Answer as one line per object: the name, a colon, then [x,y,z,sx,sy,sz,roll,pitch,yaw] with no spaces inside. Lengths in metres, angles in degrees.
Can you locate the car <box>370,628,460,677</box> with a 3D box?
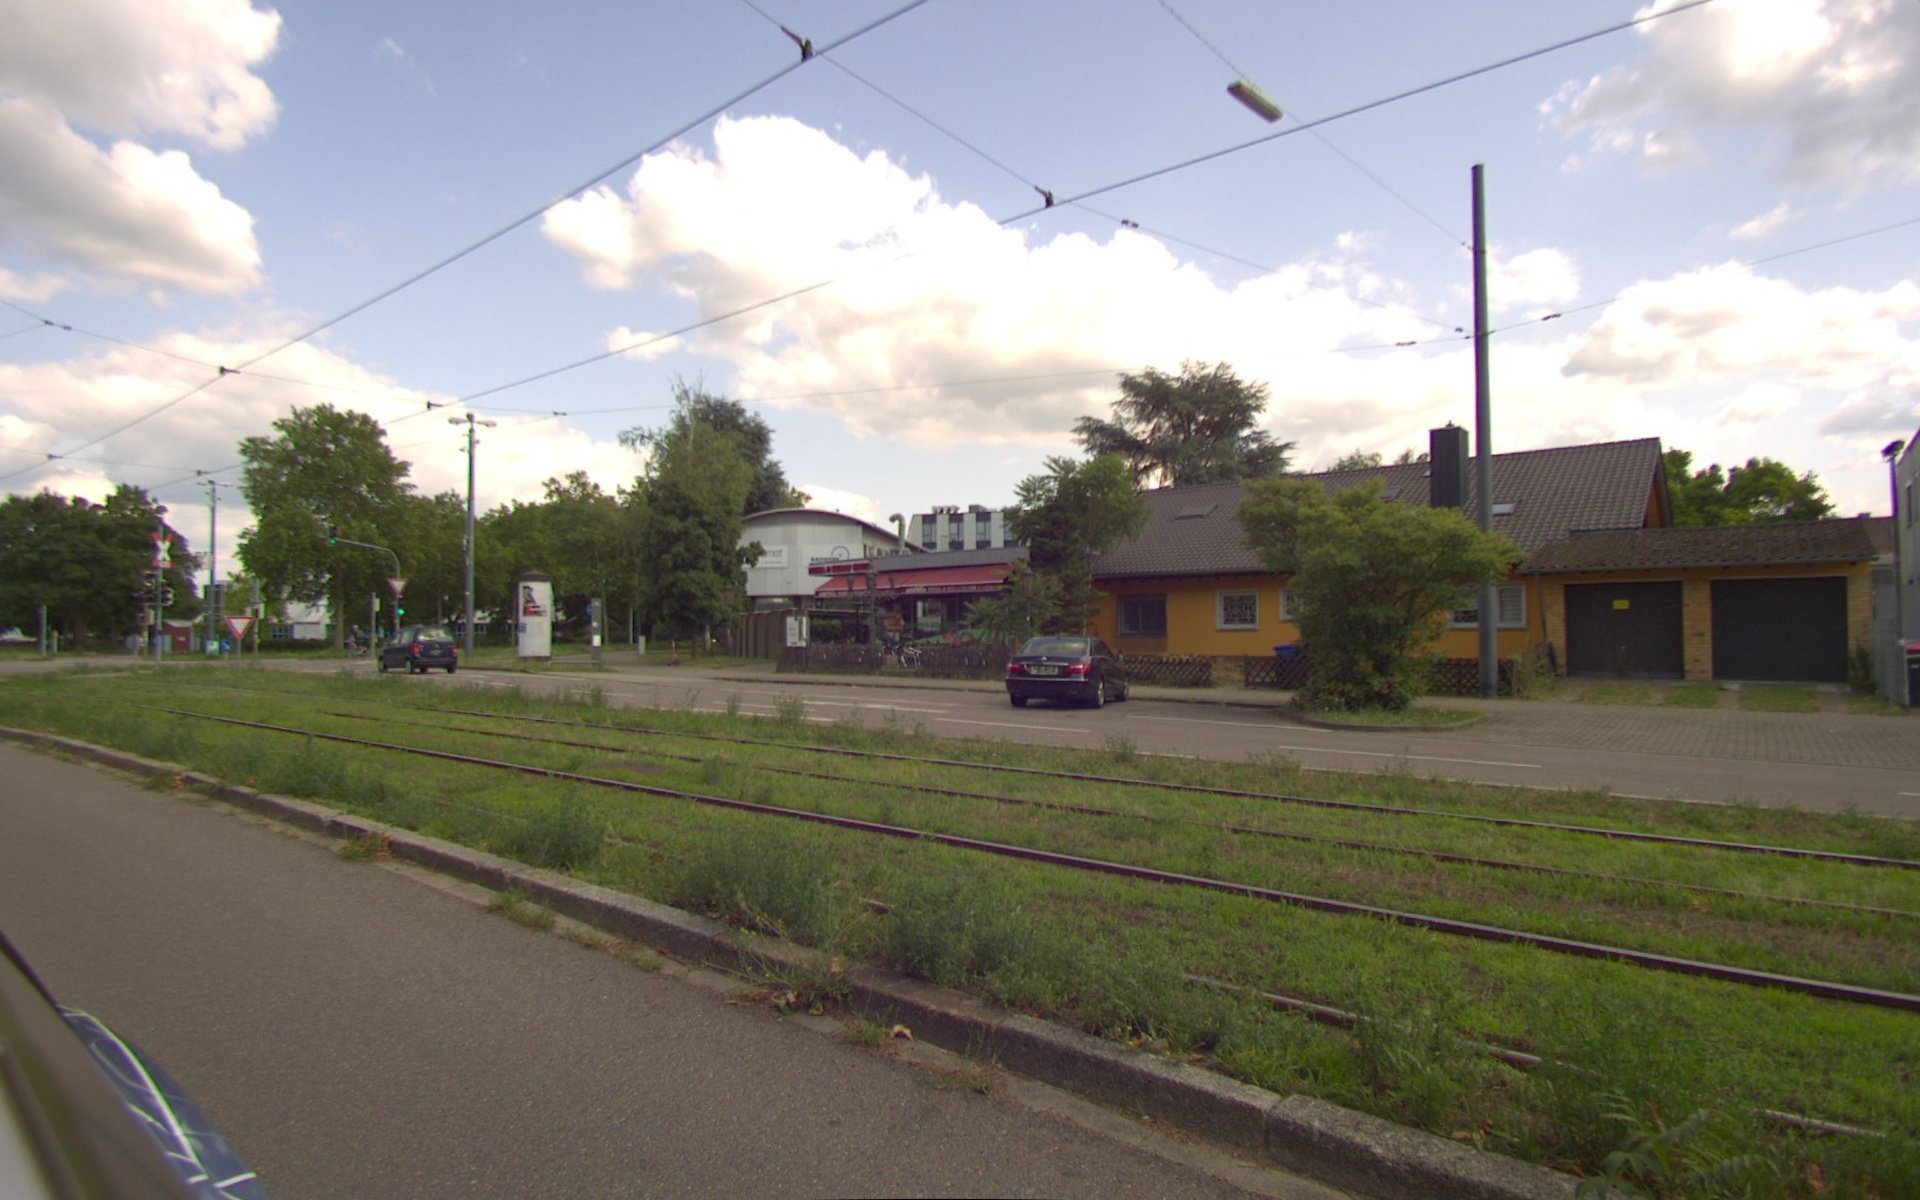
car: [-19.440,1.836,36.042,3.495,1.639,1.759,-2,-2,42]

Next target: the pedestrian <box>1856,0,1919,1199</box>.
pedestrian: [1.116,0.325,0.434,0.836,1.699,0.808,0,-2,-26]

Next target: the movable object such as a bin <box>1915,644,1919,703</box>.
movable object such as a bin: [17.681,1.334,18.338,0.479,1.050,0.488,-3,-2,40]

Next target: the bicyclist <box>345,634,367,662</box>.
bicyclist: [-32.136,2.552,53.846,0.832,1.481,0.793,-4,-3,44]

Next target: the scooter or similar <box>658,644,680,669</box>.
scooter or similar: [-12.192,2.365,42.339,0.421,1.041,1.225,1,-3,-40]

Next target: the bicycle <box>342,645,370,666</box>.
bicycle: [-32.117,2.972,53.818,2.070,1.068,0.793,-4,-3,44]

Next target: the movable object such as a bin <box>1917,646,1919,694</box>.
movable object such as a bin: [17.327,1.339,17.911,0.481,1.050,0.499,-3,-2,40]

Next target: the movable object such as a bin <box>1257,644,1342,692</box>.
movable object such as a bin: [8.157,1.612,24.320,1.616,1.109,1.242,-2,-3,39]

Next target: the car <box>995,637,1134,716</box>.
car: [2.320,1.511,21.207,1.869,1.418,4.620,0,-2,19]

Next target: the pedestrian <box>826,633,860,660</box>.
pedestrian: [-5.025,1.993,43.538,0.931,1.155,1.141,-2,-3,41]
